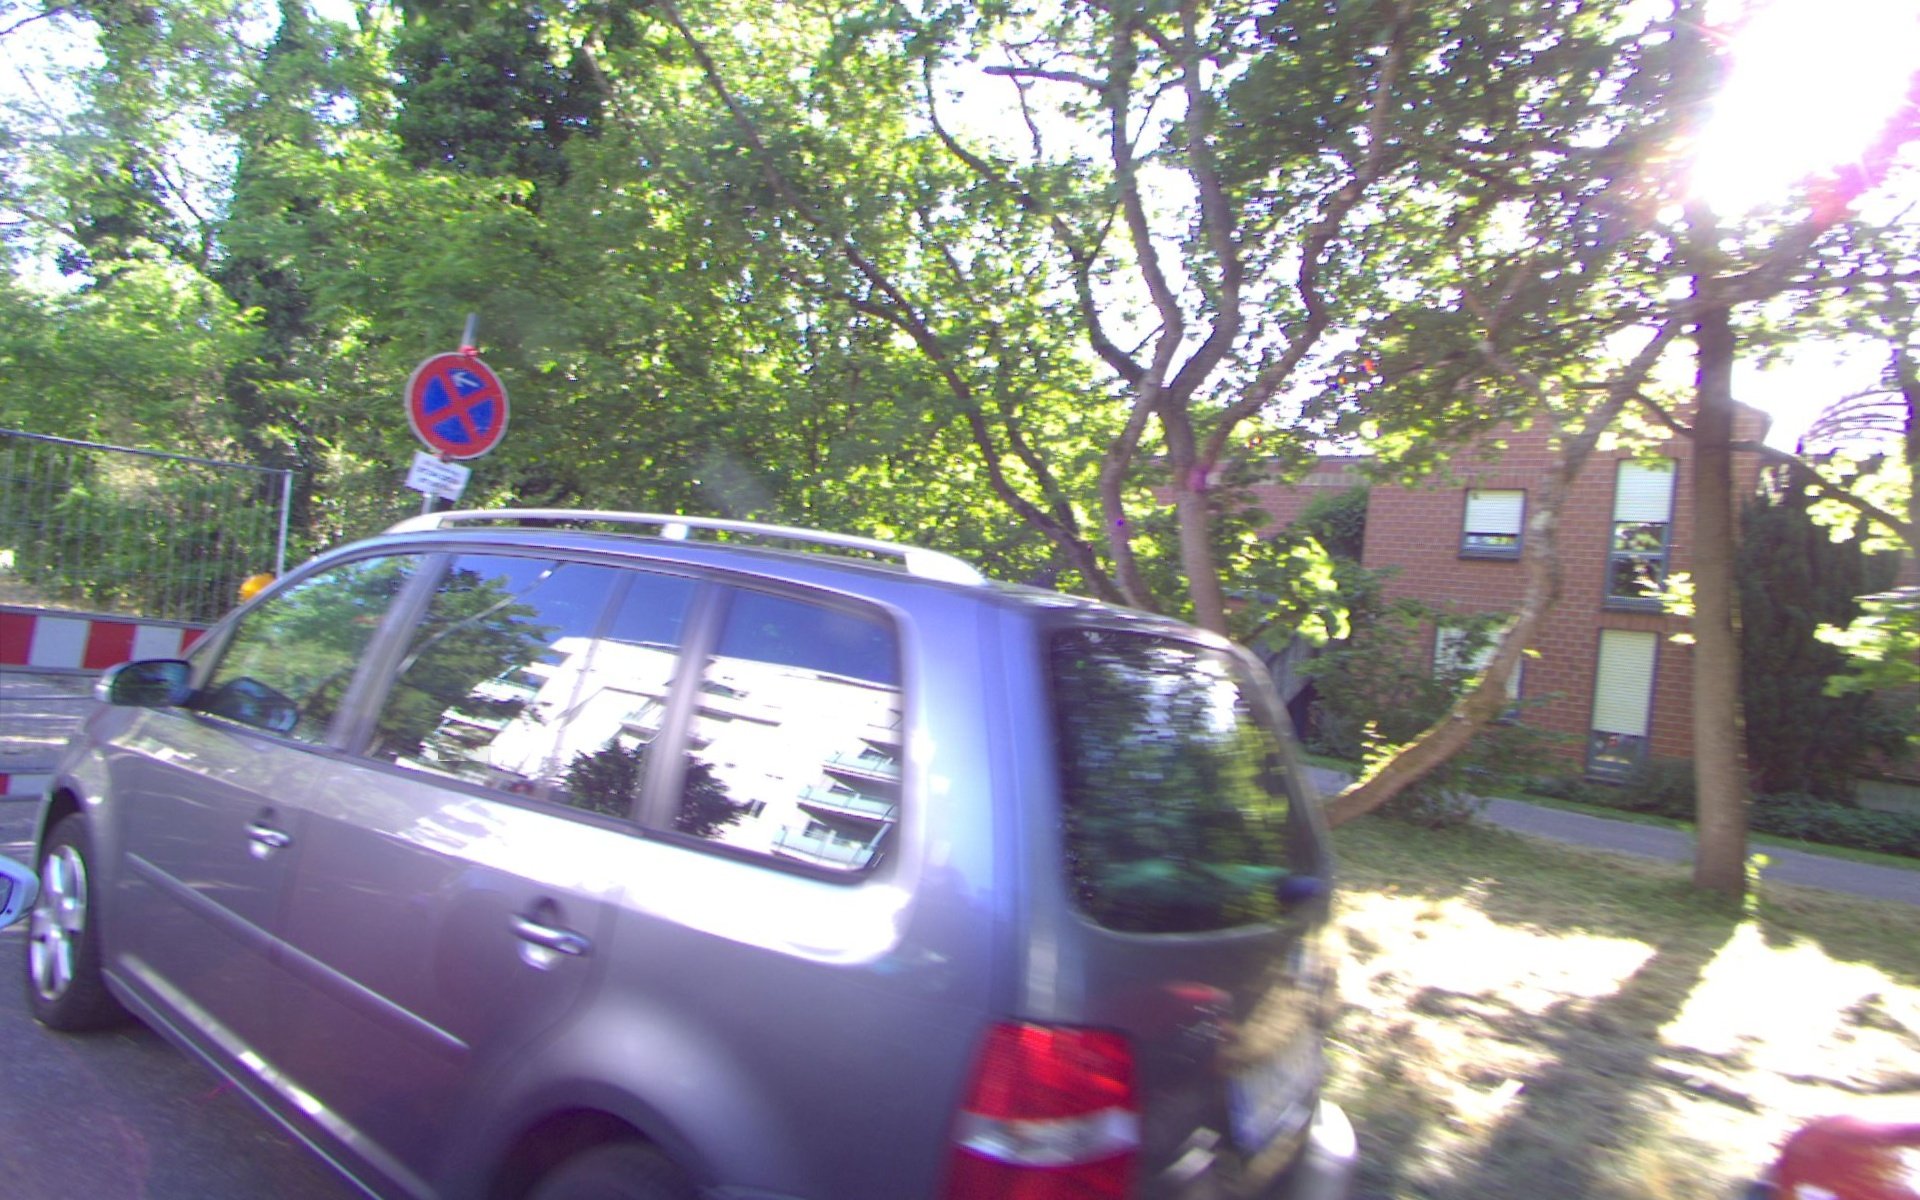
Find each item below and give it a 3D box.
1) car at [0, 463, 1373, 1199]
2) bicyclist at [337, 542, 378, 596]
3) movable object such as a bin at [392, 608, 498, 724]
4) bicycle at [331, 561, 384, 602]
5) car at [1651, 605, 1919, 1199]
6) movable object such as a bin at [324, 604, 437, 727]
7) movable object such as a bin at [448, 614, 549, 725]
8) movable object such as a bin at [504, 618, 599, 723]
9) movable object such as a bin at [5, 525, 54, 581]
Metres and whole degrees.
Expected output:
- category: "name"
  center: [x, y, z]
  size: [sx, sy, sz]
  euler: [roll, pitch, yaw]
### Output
- category: "car"
  center: [-1.200, 0.620, 2.956]
  size: [4.072, 1.640, 1.681]
  euler: [6, -2, 35]
- category: "bicyclist"
  center: [-18.247, -0.930, 30.460]
  size: [0.827, 1.517, 0.632]
  euler: [6, -1, 35]
- category: "movable object such as a bin"
  center: [-4.254, 0.546, 8.311]
  size: [0.550, 0.871, 0.484]
  euler: [6, -1, 33]
- category: "bicycle"
  center: [-18.225, -0.565, 30.411]
  size: [1.757, 1.052, 0.632]
  euler: [6, -1, 35]
- category: "car"
  center: [2.719, 1.060, 0.399]
  size: [4.004, 1.592, 1.680]
  euler: [6, -2, 37]
- category: "movable object such as a bin"
  center: [-4.537, 0.514, 7.880]
  size: [0.550, 0.871, 0.484]
  euler: [6, -1, 33]
- category: "movable object such as a bin"
  center: [-4.004, 0.605, 8.737]
  size: [0.550, 0.871, 0.484]
  euler: [6, -1, 33]
- category: "movable object such as a bin"
  center: [-3.697, 0.641, 9.108]
  size: [0.550, 0.871, 0.484]
  euler: [6, -1, 33]
- category: "movable object such as a bin"
  center: [-18.400, -0.931, 19.891]
  size: [0.599, 1.012, 0.562]
  euler: [6, 1, 36]
